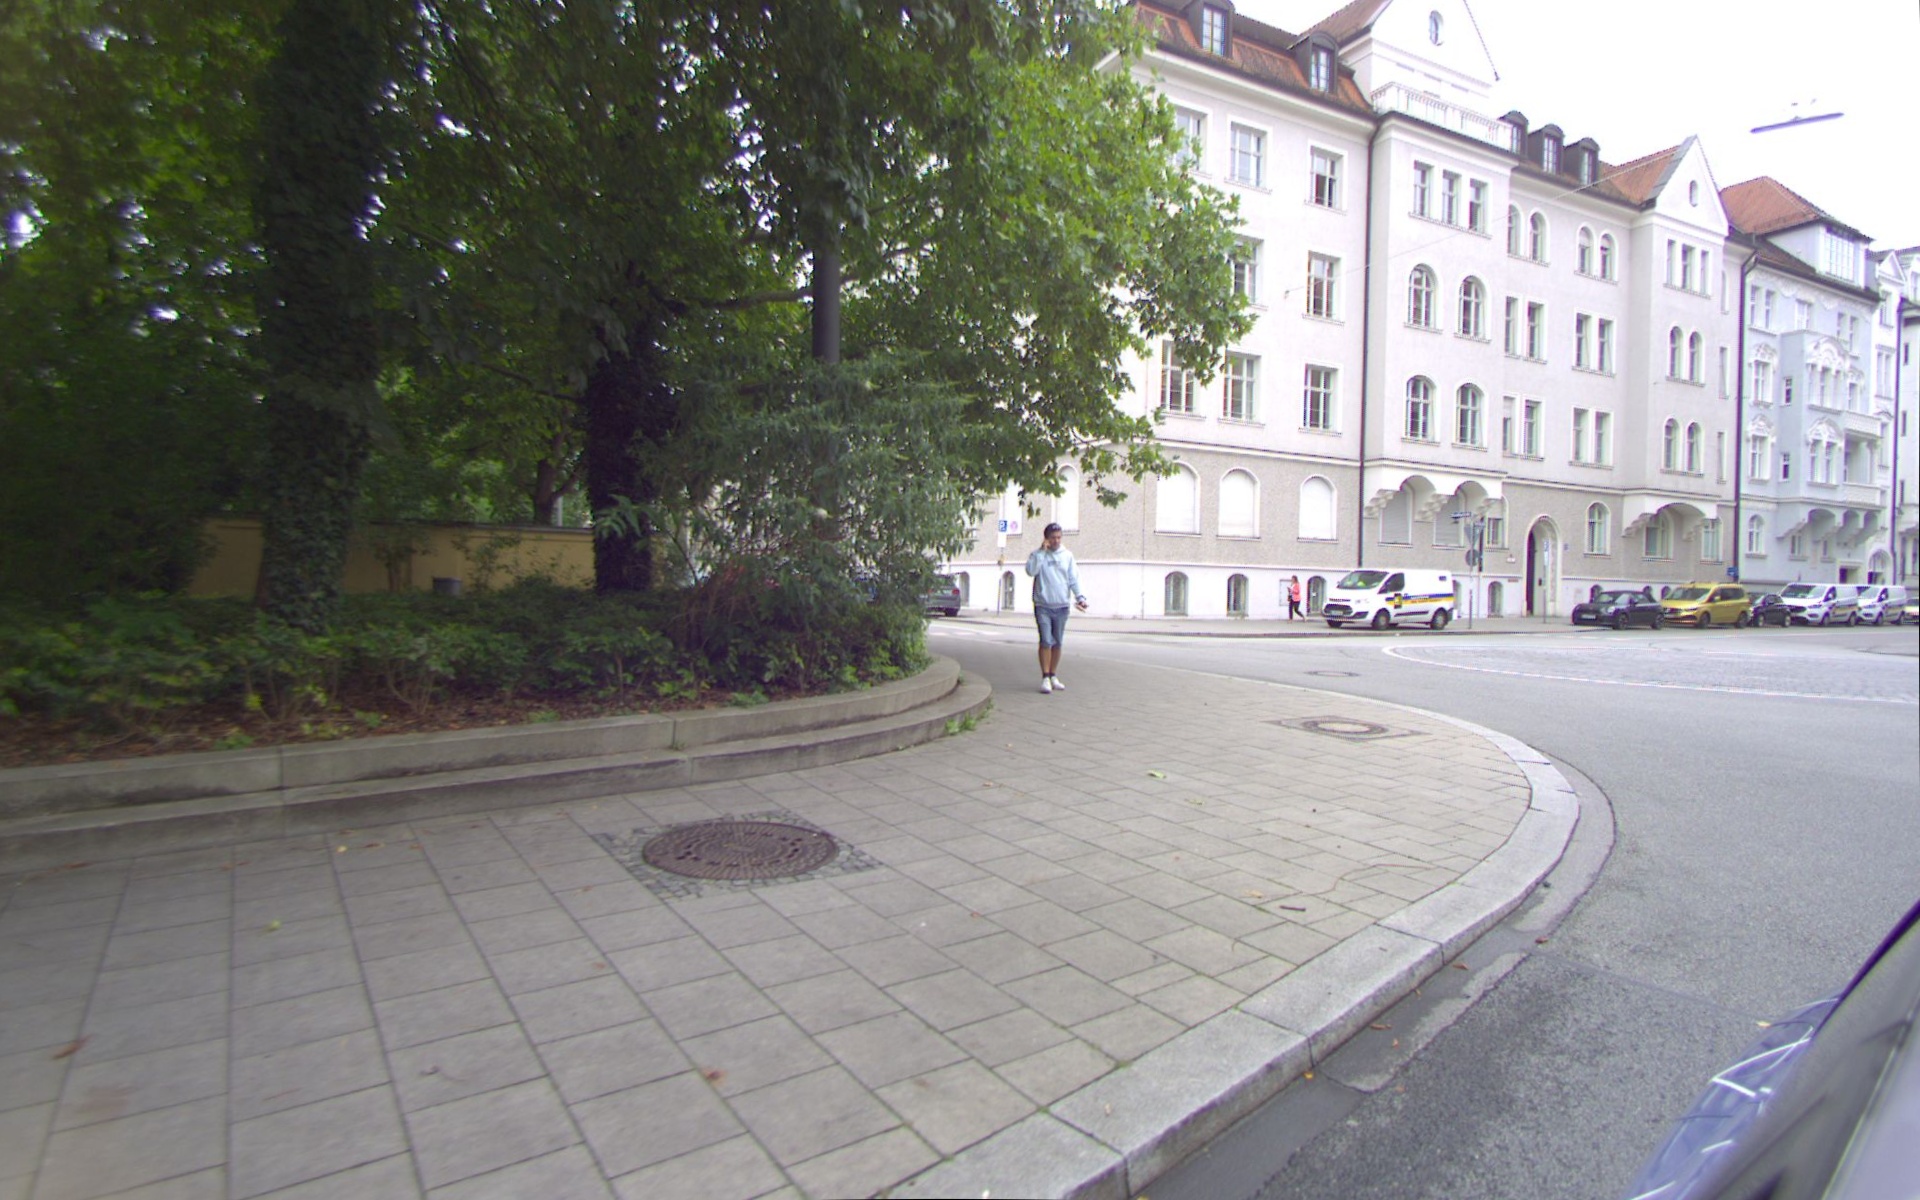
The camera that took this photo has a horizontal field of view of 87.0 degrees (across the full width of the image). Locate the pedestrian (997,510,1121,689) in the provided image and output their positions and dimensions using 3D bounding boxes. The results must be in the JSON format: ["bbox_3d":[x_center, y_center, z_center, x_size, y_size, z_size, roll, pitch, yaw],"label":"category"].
[{"bbox_3d":[1.036,-0.014,10.793,0.858,1.793,1.054,1,1,-25],"label":"pedestrian"}]

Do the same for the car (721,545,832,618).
[{"bbox_3d":[-5.440,-0.577,29.494,1.842,1.944,4.896,-1,2,-27],"label":"car"}]

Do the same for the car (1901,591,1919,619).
[{"bbox_3d":[49.698,0.294,51.438,3.467,1.363,1.700,1,1,-29],"label":"car"}]

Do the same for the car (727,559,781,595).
[{"bbox_3d":[-12.119,-1.387,59.365,1.823,1.962,4.966,2,1,-26],"label":"car"}]

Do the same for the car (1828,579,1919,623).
[{"bbox_3d":[44.559,0.053,49.162,4.725,2.019,2.127,1,1,-29],"label":"car"}]

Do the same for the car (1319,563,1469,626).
[{"bbox_3d":[14.096,-0.190,32.825,4.812,1.904,1.928,0,1,-29],"label":"car"}]

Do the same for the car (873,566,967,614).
[{"bbox_3d":[-1.569,-0.400,37.656,1.716,1.622,4.504,2,1,-27],"label":"car"}]

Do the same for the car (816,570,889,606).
[{"bbox_3d":[-4.752,-0.560,44.416,1.664,1.432,3.665,2,1,-33],"label":"car"}]

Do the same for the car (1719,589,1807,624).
[{"bbox_3d":[34.235,0.280,43.155,3.467,1.363,1.700,1,1,-29],"label":"car"}]

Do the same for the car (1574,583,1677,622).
[{"bbox_3d":[25.176,0.105,38.285,3.604,1.363,1.700,1,1,-28],"label":"car"}]

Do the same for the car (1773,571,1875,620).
[{"bbox_3d":[39.402,-0.196,46.111,4.726,2.118,2.127,1,1,-31],"label":"car"}]

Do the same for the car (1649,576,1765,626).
[{"bbox_3d":[29.964,0.046,40.599,4.050,1.861,2.031,1,1,-26],"label":"car"}]

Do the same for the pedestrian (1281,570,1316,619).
[{"bbox_3d":[11.630,-0.181,34.764,0.838,1.656,0.734,1,1,-28],"label":"pedestrian"}]
